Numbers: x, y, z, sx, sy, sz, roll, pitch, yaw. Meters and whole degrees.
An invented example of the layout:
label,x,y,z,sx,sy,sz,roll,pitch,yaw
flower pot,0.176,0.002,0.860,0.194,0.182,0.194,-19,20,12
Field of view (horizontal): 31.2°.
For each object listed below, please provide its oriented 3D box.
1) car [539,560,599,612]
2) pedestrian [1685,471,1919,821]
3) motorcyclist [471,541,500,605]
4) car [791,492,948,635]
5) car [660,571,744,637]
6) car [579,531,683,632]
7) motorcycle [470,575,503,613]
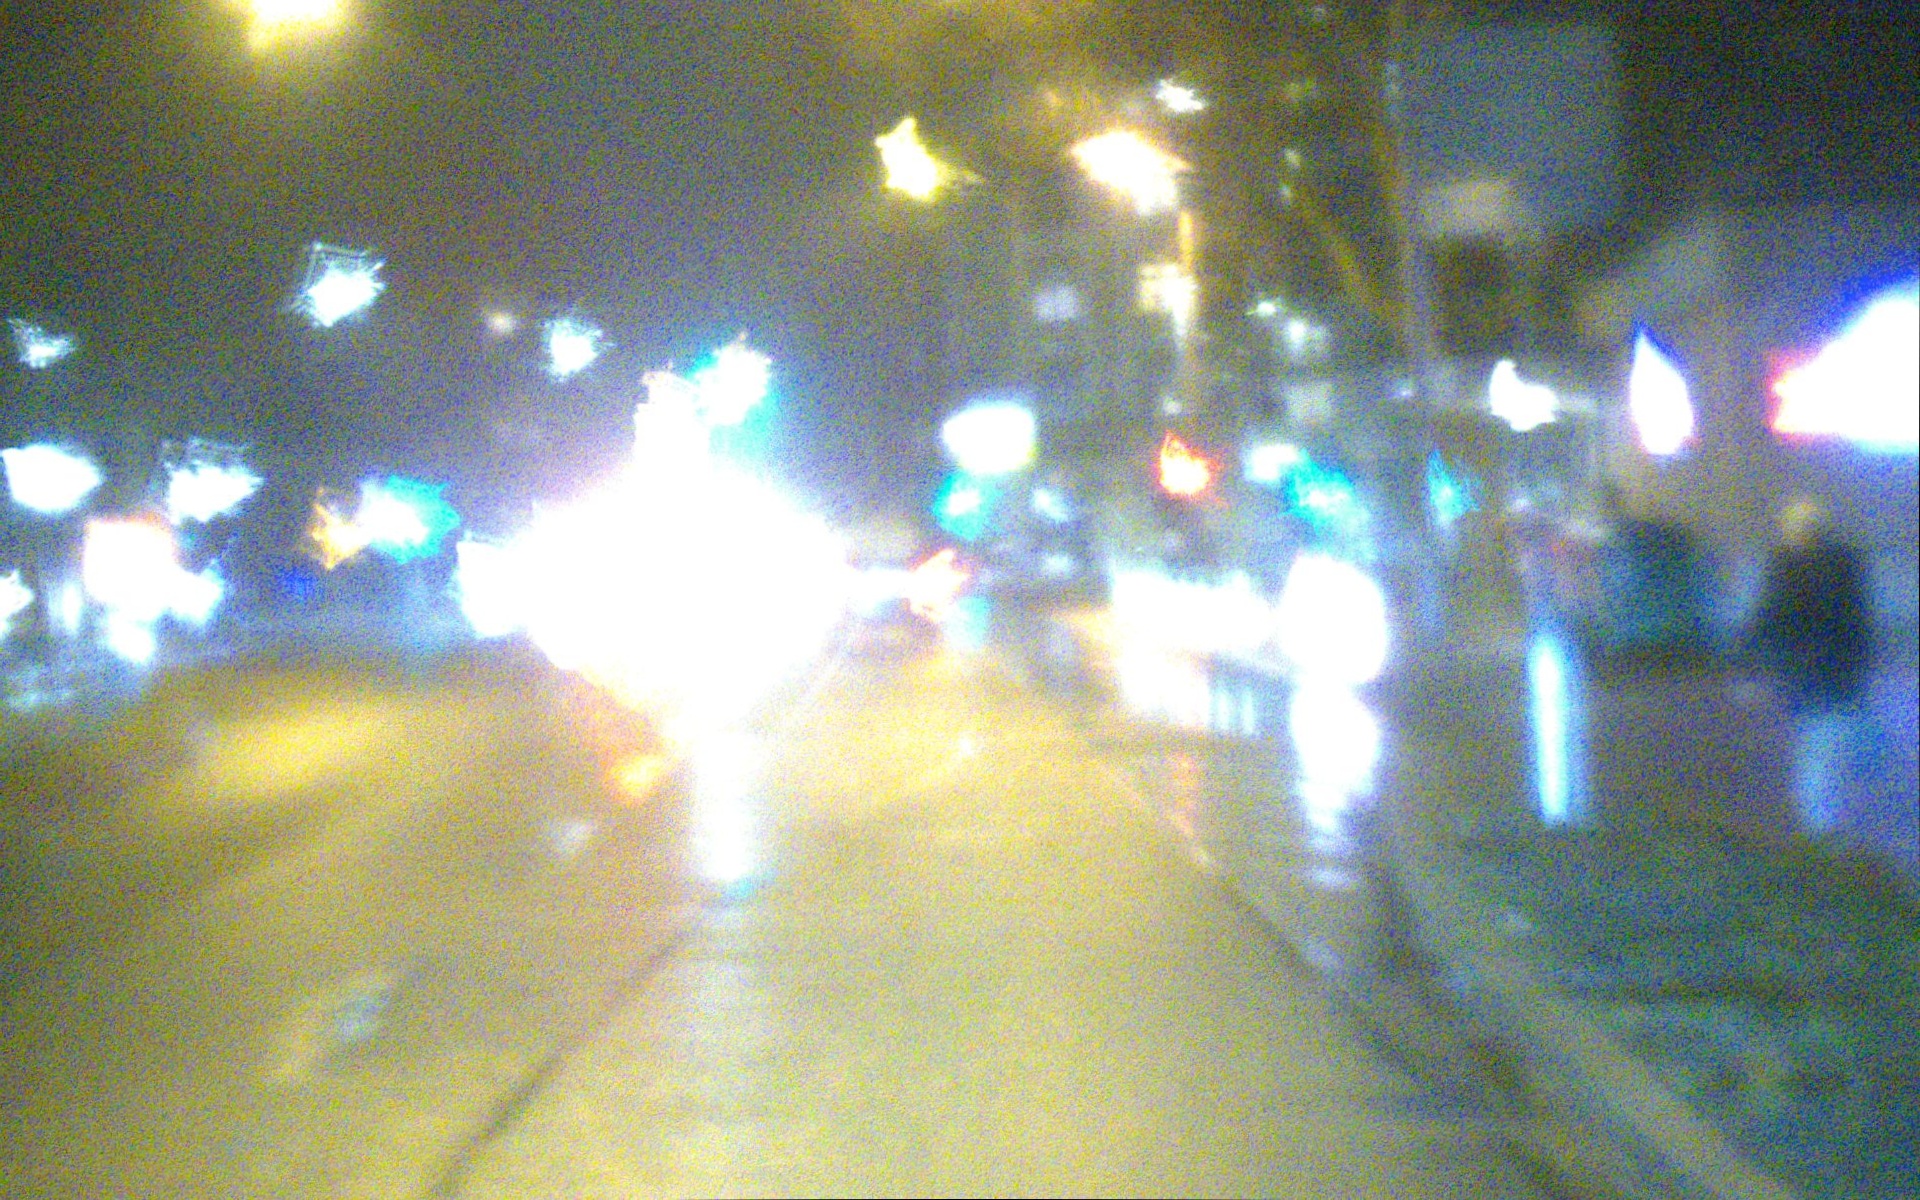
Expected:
label,x,y,z,sx,sy,sz,roll,pitch,yaw
car,-12.773,-0.478,112.134,1.852,1.494,4.771,-2,2,-7
pedestrian,4.000,0.200,16.075,1.050,1.570,1.018,-1,1,4
motorcyclist,-15.167,-0.879,109.823,0.693,2.006,0.983,-2,1,1
car,-1.383,-0.553,51.243,2.168,1.965,4.302,-2,1,-2
car,-6.440,0.069,85.432,1.817,1.537,4.727,-2,1,-7
car,-7.191,-0.446,75.518,2.034,1.946,5.201,-4,2,-4
motorcycle,-15.137,-0.190,109.956,0.701,1.134,2.176,-2,1,1
